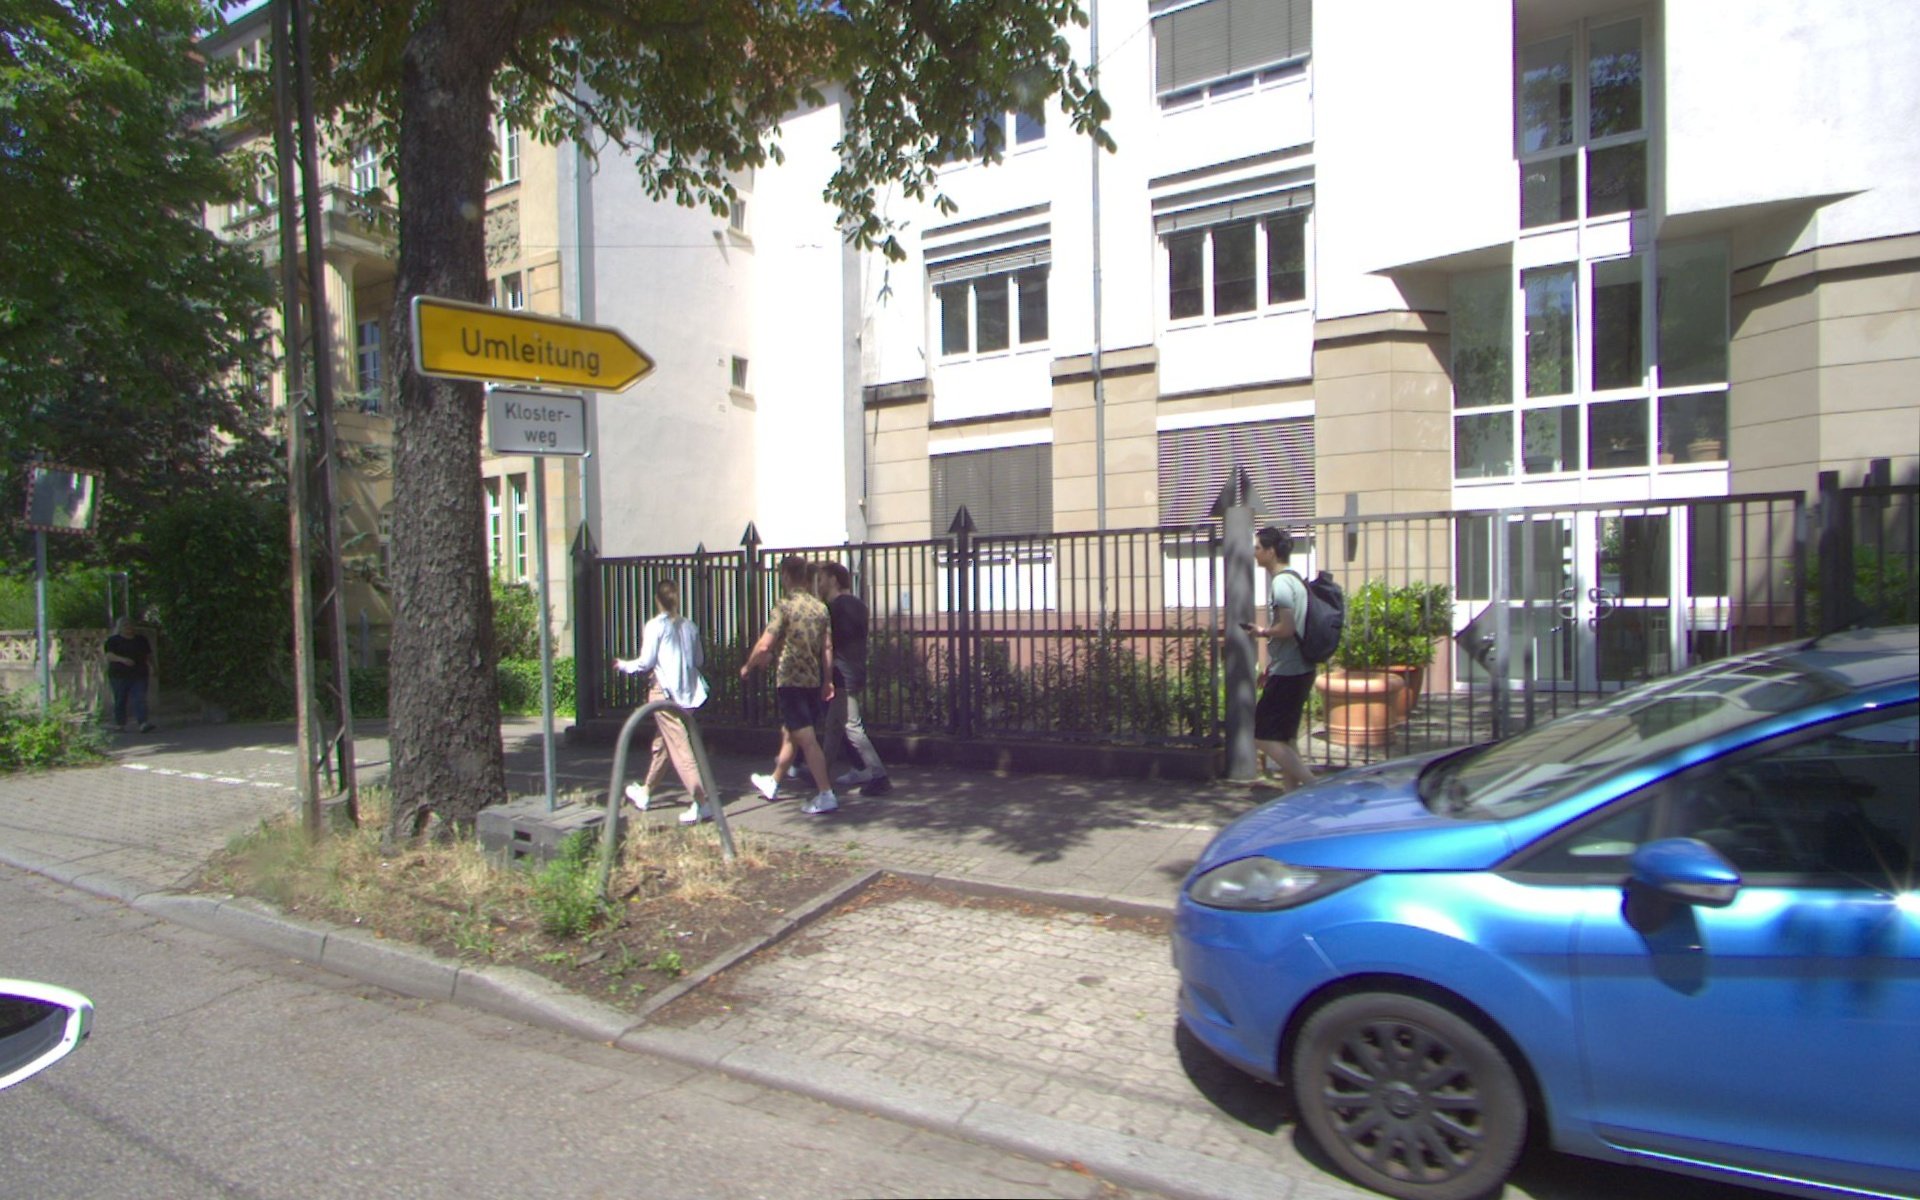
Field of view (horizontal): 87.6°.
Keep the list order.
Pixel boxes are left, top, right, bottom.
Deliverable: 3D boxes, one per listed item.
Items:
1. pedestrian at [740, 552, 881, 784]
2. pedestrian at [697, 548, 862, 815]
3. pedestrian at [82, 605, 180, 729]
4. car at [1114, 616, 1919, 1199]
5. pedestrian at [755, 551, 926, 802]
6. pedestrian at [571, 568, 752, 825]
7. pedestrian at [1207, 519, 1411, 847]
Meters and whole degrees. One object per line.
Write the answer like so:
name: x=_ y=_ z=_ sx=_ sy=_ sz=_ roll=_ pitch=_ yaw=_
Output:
pedestrian: x=-1.256 y=0.544 z=8.442 sx=0.962 sy=1.835 sz=0.660 roll=-1 pitch=0 yaw=29
pedestrian: x=-1.305 y=0.559 z=7.278 sx=0.932 sy=1.800 sz=0.704 roll=-1 pitch=0 yaw=27
pedestrian: x=-11.618 y=0.912 z=14.047 sx=0.825 sy=1.667 sz=0.854 roll=-1 pitch=0 yaw=35
car: x=2.452 y=0.788 z=2.776 sx=3.663 sy=1.462 sz=1.676 roll=-1 pitch=0 yaw=28
pedestrian: x=-0.914 y=0.551 z=7.711 sx=1.036 sy=1.785 sz=0.786 roll=-1 pitch=0 yaw=29
pedestrian: x=-2.102 y=0.638 z=7.085 sx=0.959 sy=1.673 sz=0.765 roll=-1 pitch=0 yaw=30
pedestrian: x=2.136 y=0.473 z=6.116 sx=1.067 sy=1.821 sz=0.684 roll=-1 pitch=0 yaw=29
